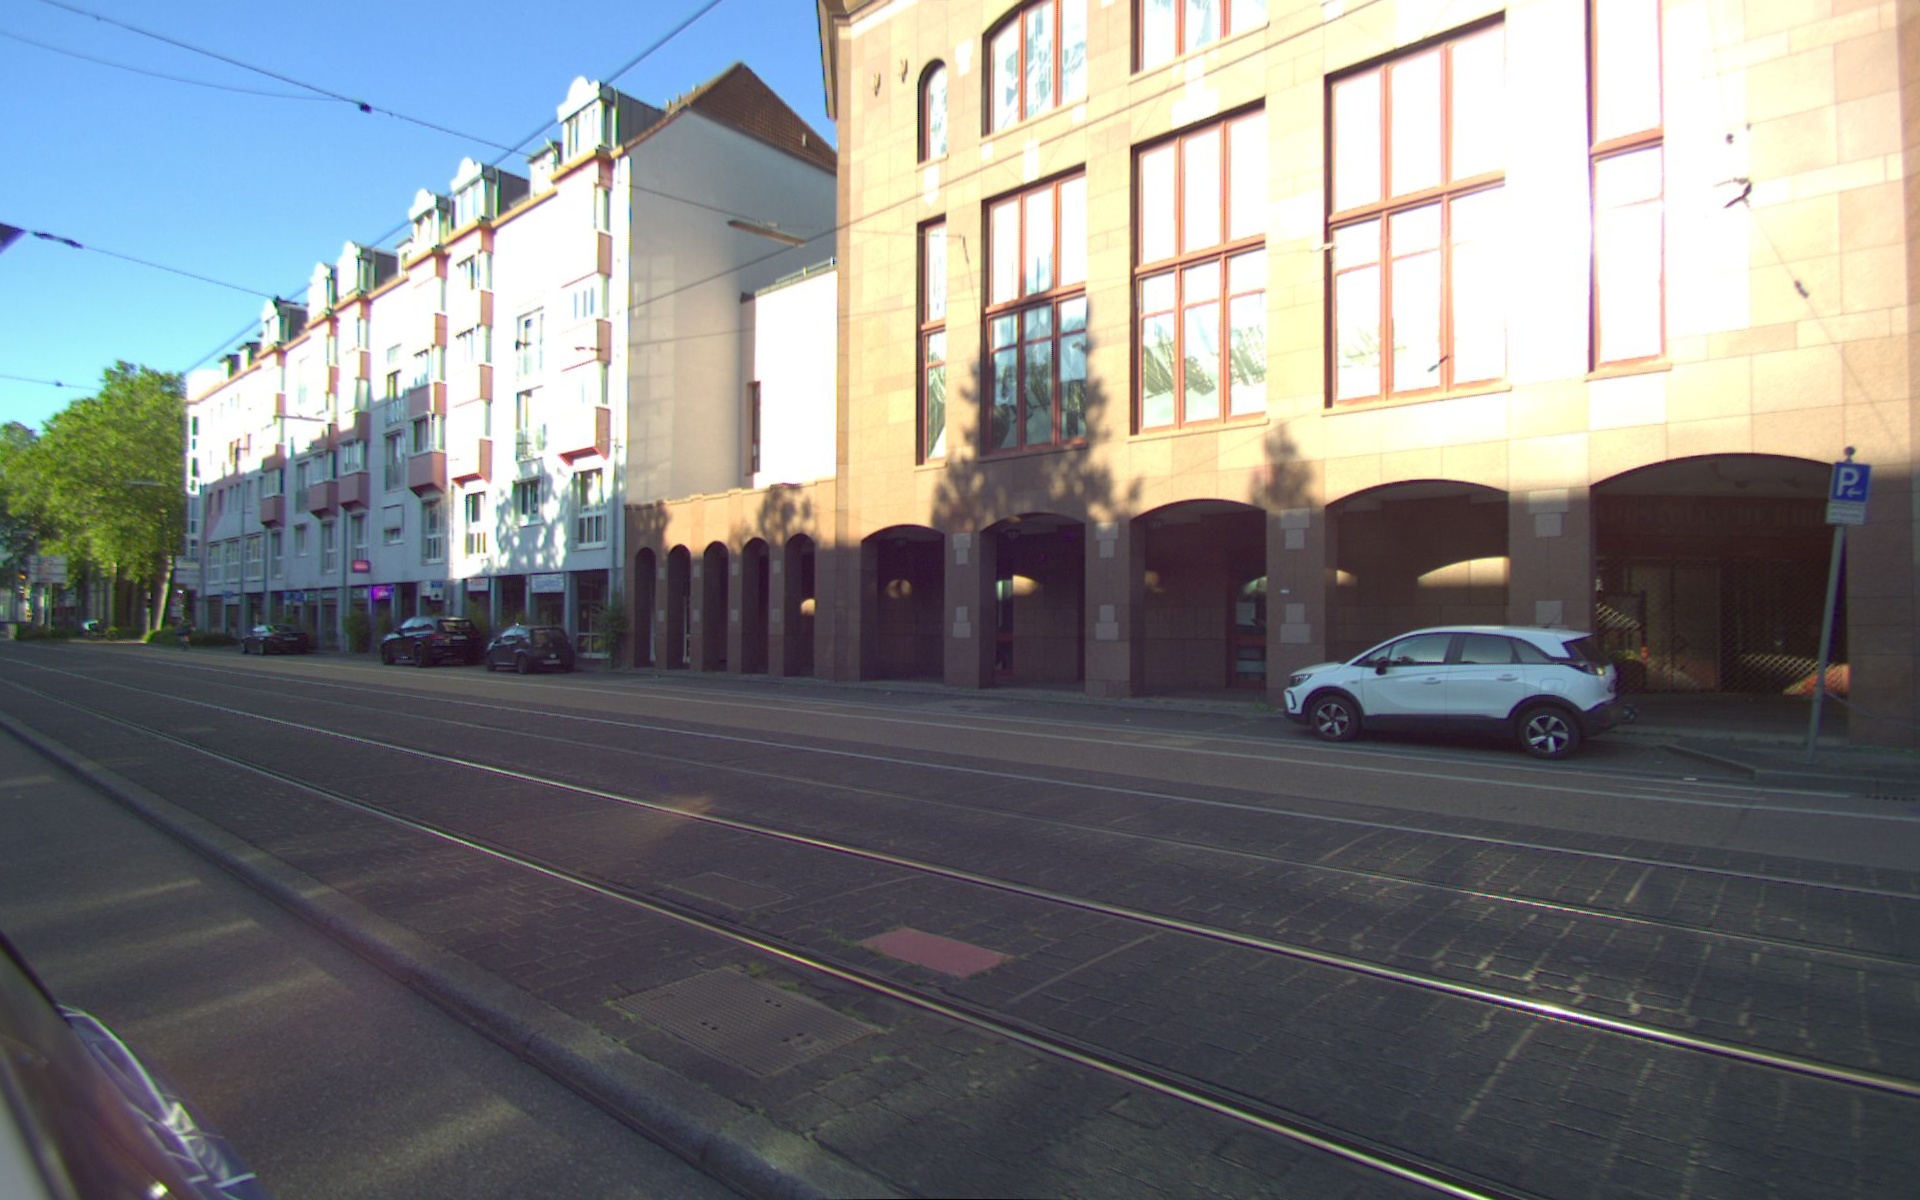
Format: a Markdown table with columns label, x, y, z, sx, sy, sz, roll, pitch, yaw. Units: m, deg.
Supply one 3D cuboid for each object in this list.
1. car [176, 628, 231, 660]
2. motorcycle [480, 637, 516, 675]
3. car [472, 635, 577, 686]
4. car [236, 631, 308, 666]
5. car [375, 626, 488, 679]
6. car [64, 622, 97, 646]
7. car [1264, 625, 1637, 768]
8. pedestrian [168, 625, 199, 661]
| label | x | y | z | sx | sy | sz | roll | pitch | yaw |
| --- | --- | --- | --- | --- | --- | --- | --- | --- | --- |
| car | -44.221 | 2.521 | 59.145 | 4.385 | 1.811 | 1.905 | -2 | -2 | 45 |
| motorcycle | -16.380 | 1.963 | 35.871 | 0.760 | 1.290 | 2.142 | 0 | -1 | -35 |
| car | -13.533 | 1.825 | 31.398 | 3.682 | 1.411 | 1.624 | -1 | -1 | 42 |
| car | -32.863 | 2.288 | 48.270 | 4.559 | 1.520 | 1.805 | -1 | -1 | 42 |
| car | -18.643 | 1.779 | 35.627 | 4.557 | 1.713 | 1.939 | -1 | -1 | 40 |
| car | -62.026 | 2.400 | 71.348 | 2.881 | 1.686 | 1.365 | -1 | -3 | 42 |
| car | 6.497 | 1.163 | 13.683 | 4.274 | 1.602 | 1.579 | -1 | 0 | 40 |
| pedestrian | -39.339 | 2.177 | 51.272 | 1.081 | 1.792 | 1.253 | 3 | -3 | -44 |
